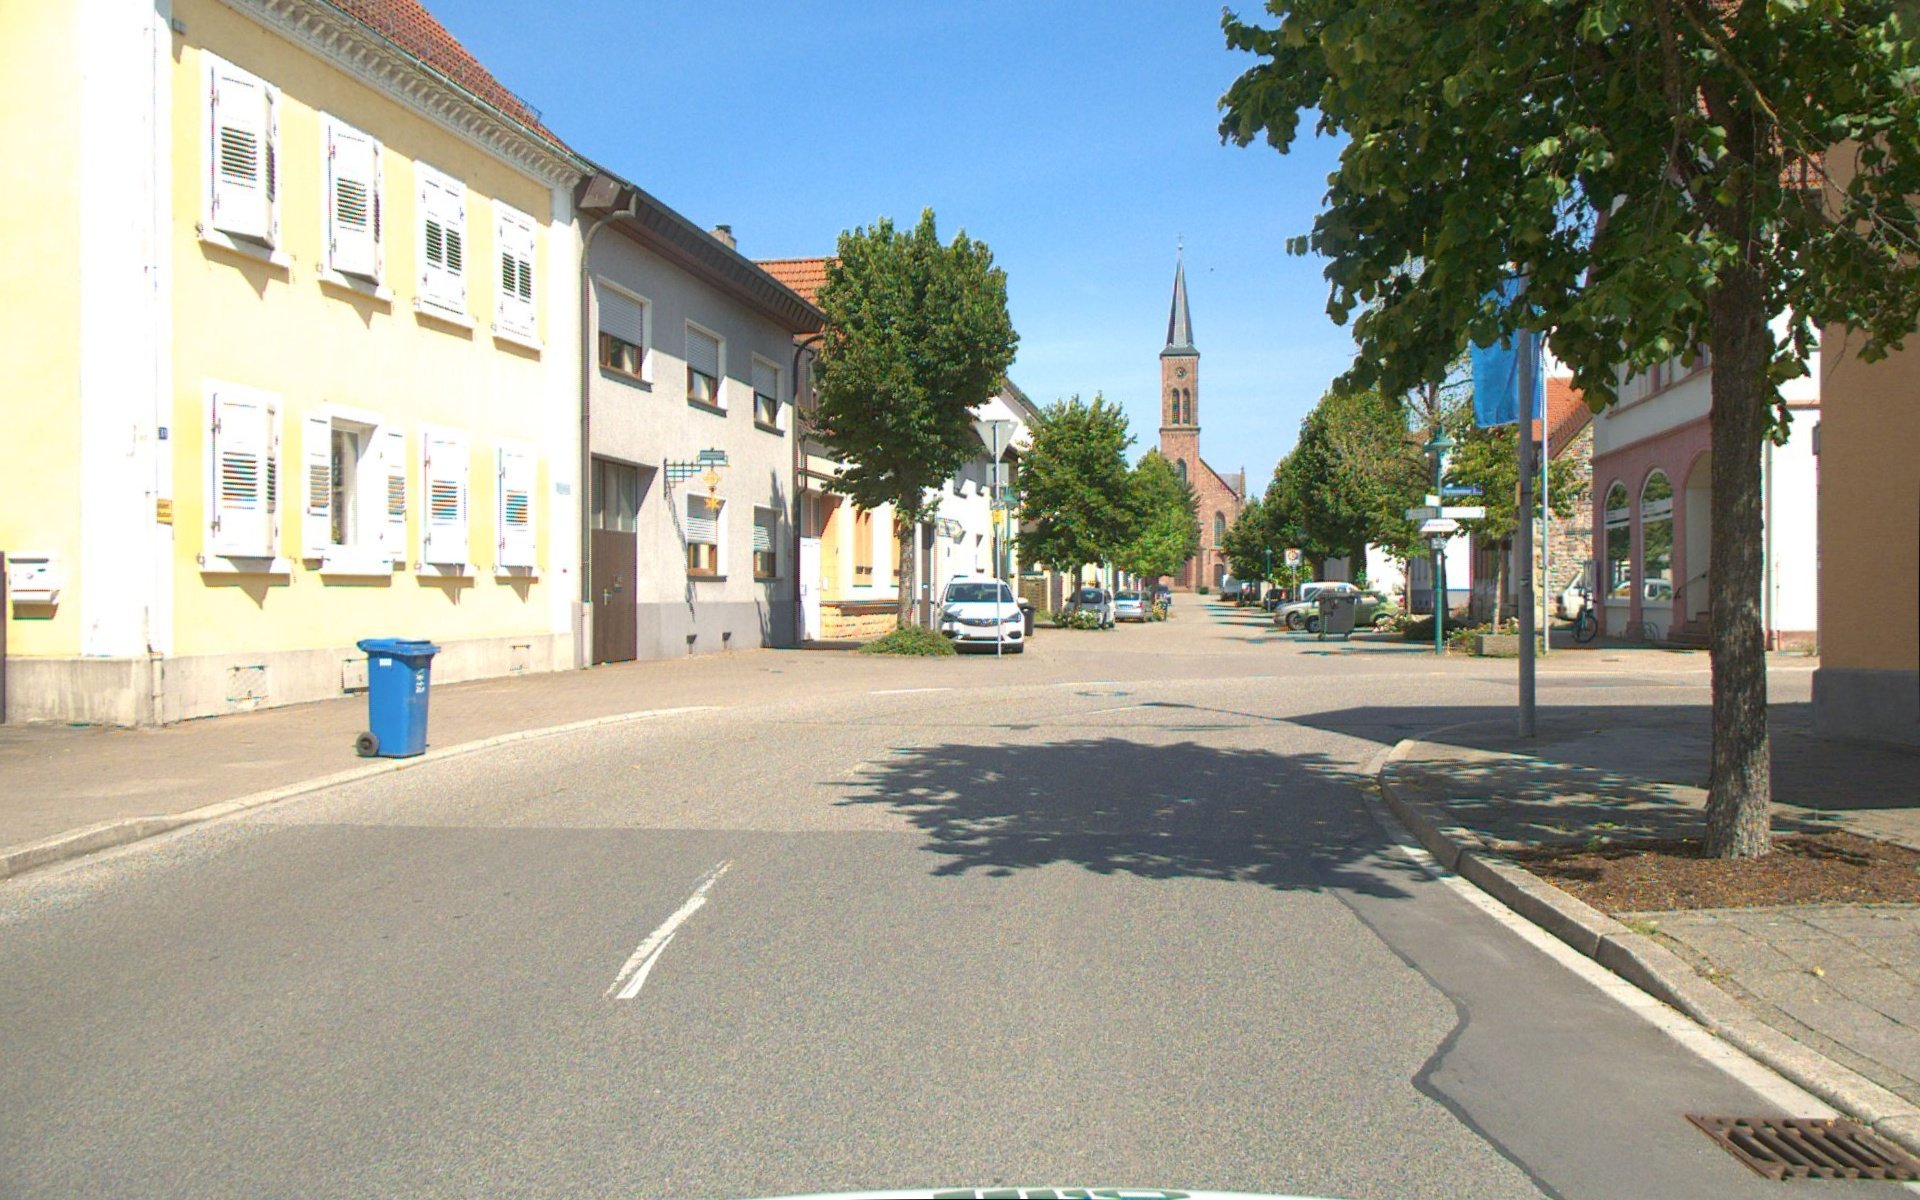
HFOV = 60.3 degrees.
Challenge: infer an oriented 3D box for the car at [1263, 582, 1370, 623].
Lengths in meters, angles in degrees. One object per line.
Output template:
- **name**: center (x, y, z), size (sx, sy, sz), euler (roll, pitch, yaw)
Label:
- **car**: center (14.256, 0.095, 66.326), size (4.061, 1.595, 2.002), euler (0, 0, 9)

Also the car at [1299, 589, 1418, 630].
- **car**: center (13.732, 0.305, 57.194), size (3.840, 1.368, 2.002), euler (0, 1, 9)

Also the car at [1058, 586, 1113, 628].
- **car**: center (5.076, 0.256, 66.532), size (1.951, 1.601, 4.003), euler (-1, 0, 7)

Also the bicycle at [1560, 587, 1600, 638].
- **bicycle**: center (14.363, 0.278, 38.346), size (0.580, 1.155, 1.750), euler (-1, 0, 12)

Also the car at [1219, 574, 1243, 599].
- **car**: center (26.553, -1.316, 162.203), size (2.197, 2.318, 4.506), euler (1, 0, 9)

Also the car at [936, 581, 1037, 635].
- **car**: center (0.838, 0.194, 47.853), size (1.942, 1.465, 5.216), euler (0, 1, 12)

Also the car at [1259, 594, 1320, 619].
- **car**: center (22.406, 0.444, 112.513), size (3.902, 1.646, 2.002), euler (-1, 0, 7)

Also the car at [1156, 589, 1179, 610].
- **car**: center (18.459, -0.076, 147.299), size (1.951, 1.847, 4.003), euler (-1, 0, 5)

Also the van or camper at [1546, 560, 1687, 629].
- **van or camper**: center (20.182, -0.174, 51.007), size (3.903, 2.049, 2.001), euler (0, 0, 18)

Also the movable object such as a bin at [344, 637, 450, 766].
- **movable object such as a bin**: center (-4.535, 0.805, 13.354), size (0.629, 0.998, 0.614), euler (0, 0, 1)

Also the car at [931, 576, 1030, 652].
- **car**: center (0.355, 0.250, 34.177), size (1.812, 1.465, 4.511), euler (0, 1, -2)

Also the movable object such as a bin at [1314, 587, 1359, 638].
- **movable object such as a bin**: center (10.167, 0.328, 44.704), size (1.162, 1.361, 0.790), euler (-1, 0, 13)

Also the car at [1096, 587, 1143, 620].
- **car**: center (7.421, 0.162, 77.331), size (1.952, 1.489, 4.001), euler (0, 0, 2)

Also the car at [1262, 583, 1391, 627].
- **car**: center (14.056, 0.184, 63.663), size (4.701, 1.651, 2.002), euler (0, 0, 9)
